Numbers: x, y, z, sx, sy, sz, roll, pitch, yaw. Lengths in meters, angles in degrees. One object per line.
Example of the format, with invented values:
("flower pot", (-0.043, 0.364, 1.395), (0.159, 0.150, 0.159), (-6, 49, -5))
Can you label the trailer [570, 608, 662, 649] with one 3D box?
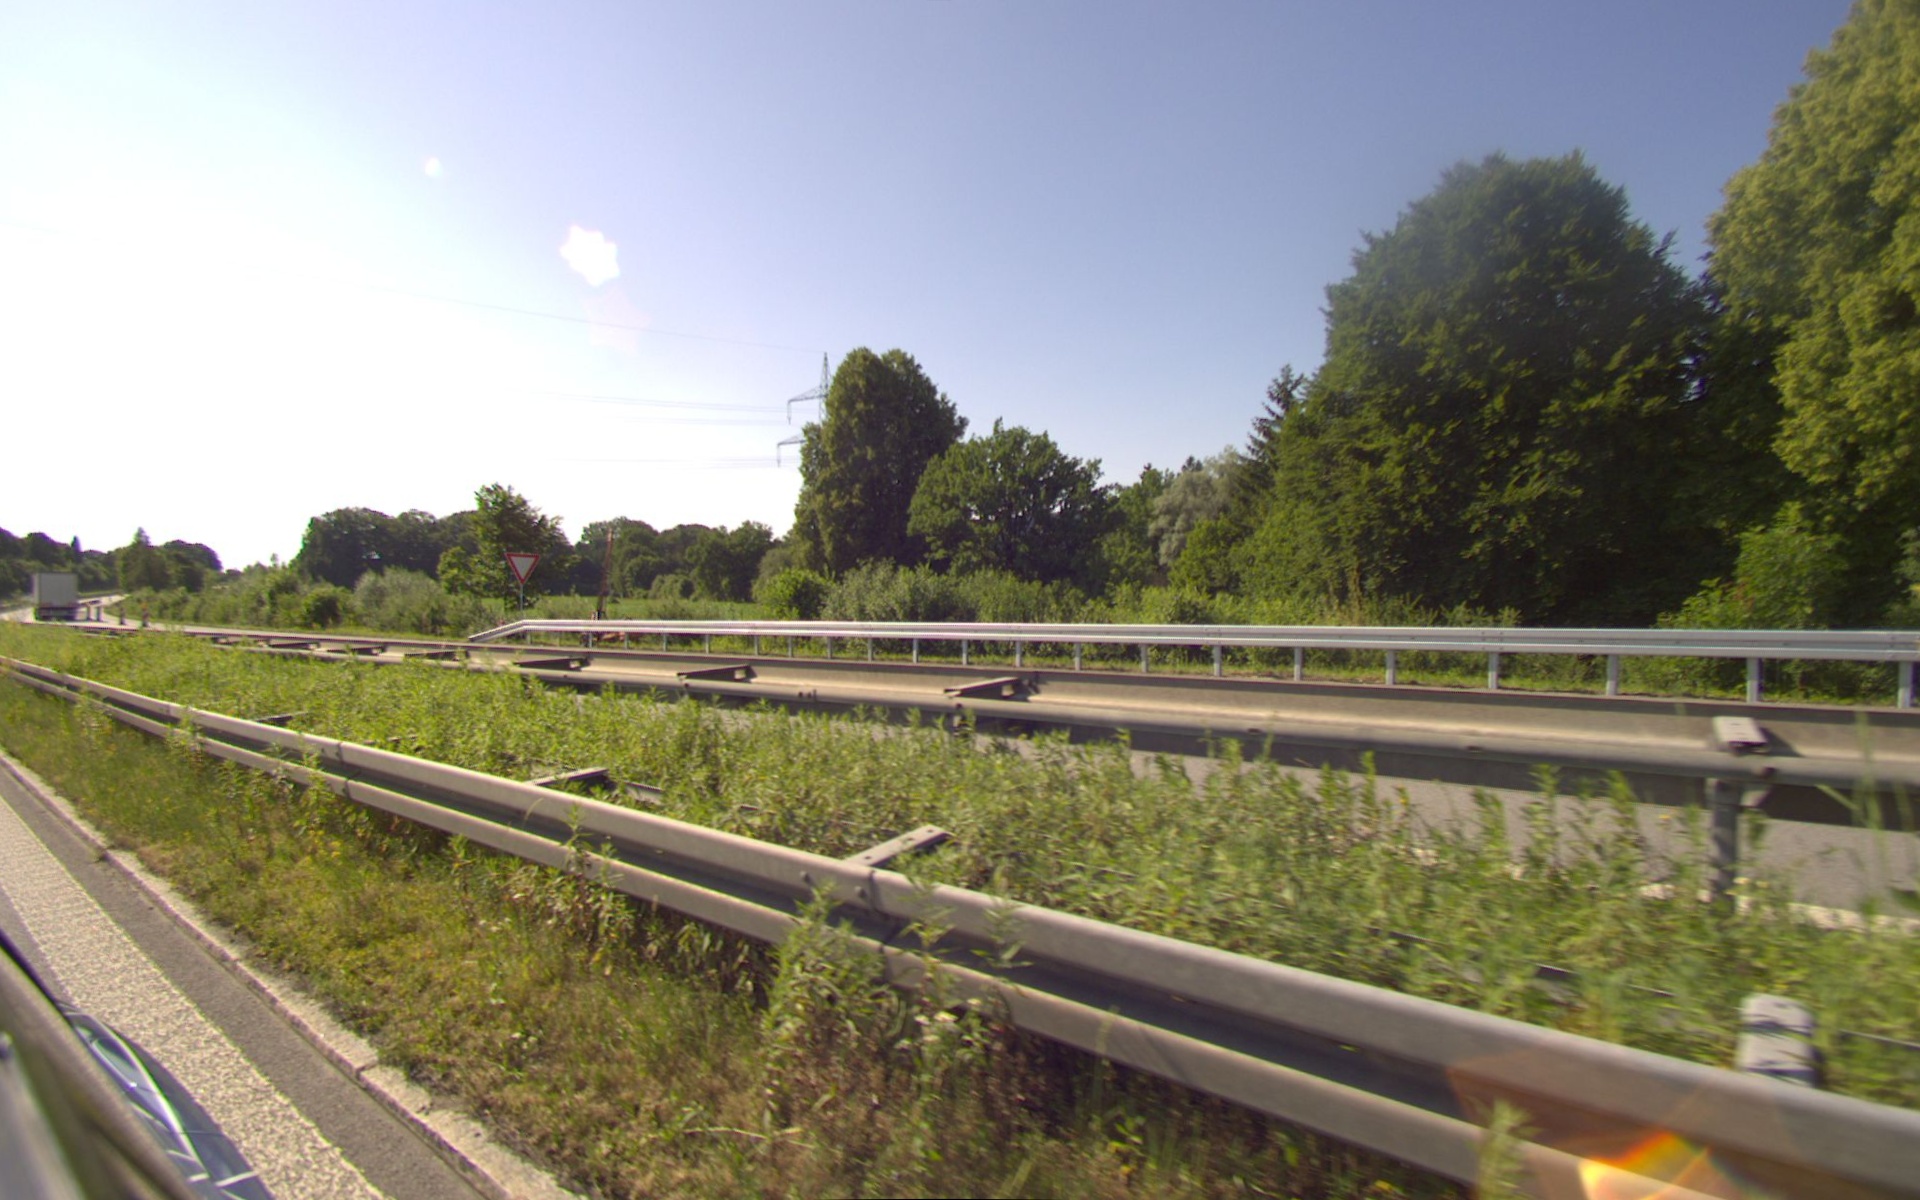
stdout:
("trailer", (-10.202, 0.825, 29.928), (3.423, 1.060, 0.983), (-1, 4, 42))

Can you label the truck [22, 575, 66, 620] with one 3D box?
("truck", (-83.910, -0.215, 92.695), (5.845, 3.989, 2.603), (0, 0, 44))

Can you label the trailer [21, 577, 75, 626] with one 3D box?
("trailer", (-79.260, 0.188, 87.832), (13.774, 3.984, 2.649), (-1, -1, 44))
